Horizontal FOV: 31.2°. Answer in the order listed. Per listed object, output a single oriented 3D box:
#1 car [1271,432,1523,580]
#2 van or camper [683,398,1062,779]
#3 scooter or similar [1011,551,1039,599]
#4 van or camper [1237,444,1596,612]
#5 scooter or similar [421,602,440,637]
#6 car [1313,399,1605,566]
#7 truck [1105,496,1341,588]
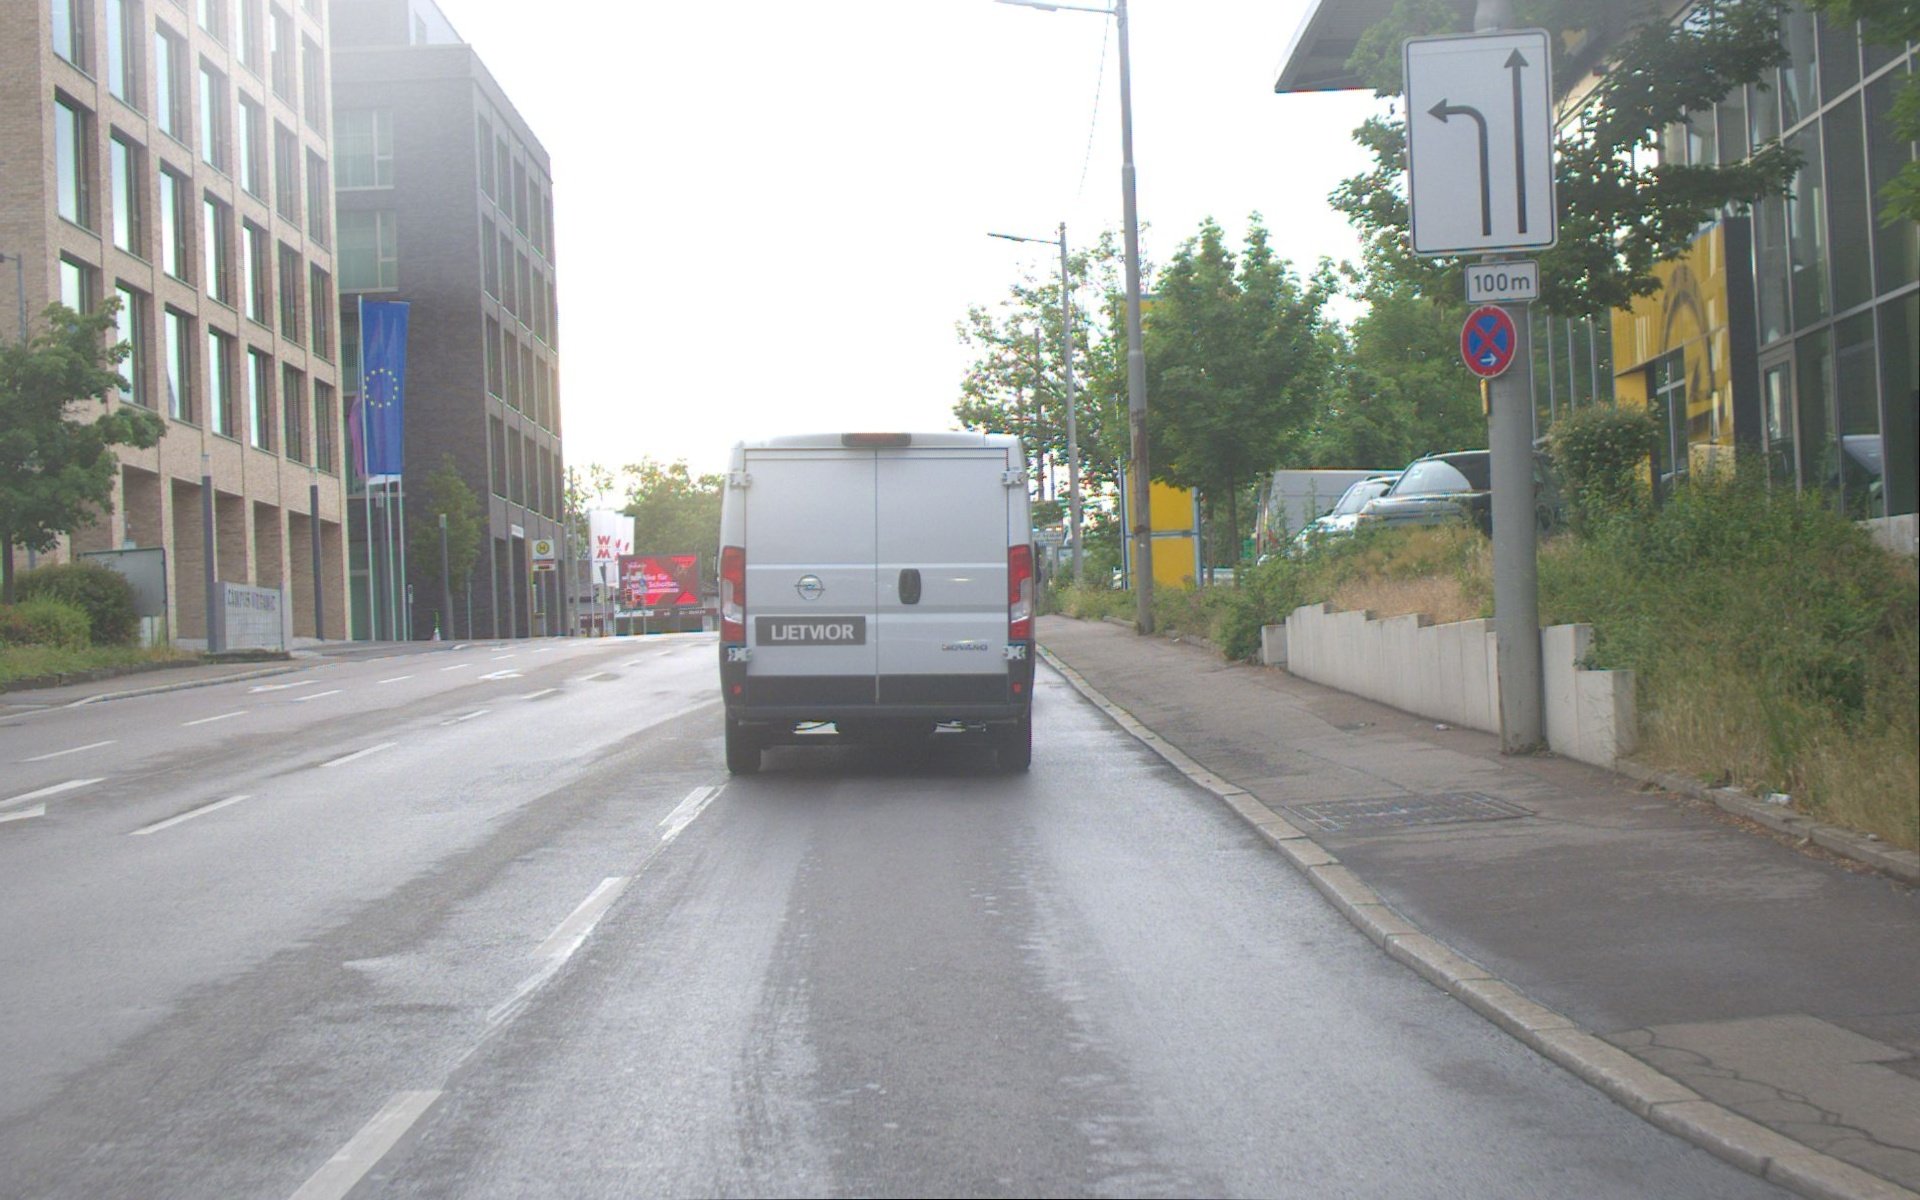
[{"bbox_3d":[5.722,-1.207,44.502,1.996,1.705,4.573,-3,0,23],"label":"car"},{"bbox_3d":[-0.534,-0.122,24.136,2.340,2.349,5.200,-1,1,0],"label":"van or camper"},{"bbox_3d":[2.179,-0.844,115.738,0.434,1.582,1.273,-1,1,-23],"label":"scooter or similar"},{"bbox_3d":[7.711,-1.225,58.518,5.736,2.714,2.352,-1,1,0],"label":"van or camper"},{"bbox_3d":[-16.630,0.615,107.888,0.351,1.068,1.428,-1,-1,0],"label":"scooter or similar"},{"bbox_3d":[5.825,-1.338,39.709,1.996,1.705,4.422,-3,0,26],"label":"car"},{"bbox_3d":[6.035,-1.348,79.385,5.147,2.007,2.346,-1,1,-2],"label":"truck"}]
